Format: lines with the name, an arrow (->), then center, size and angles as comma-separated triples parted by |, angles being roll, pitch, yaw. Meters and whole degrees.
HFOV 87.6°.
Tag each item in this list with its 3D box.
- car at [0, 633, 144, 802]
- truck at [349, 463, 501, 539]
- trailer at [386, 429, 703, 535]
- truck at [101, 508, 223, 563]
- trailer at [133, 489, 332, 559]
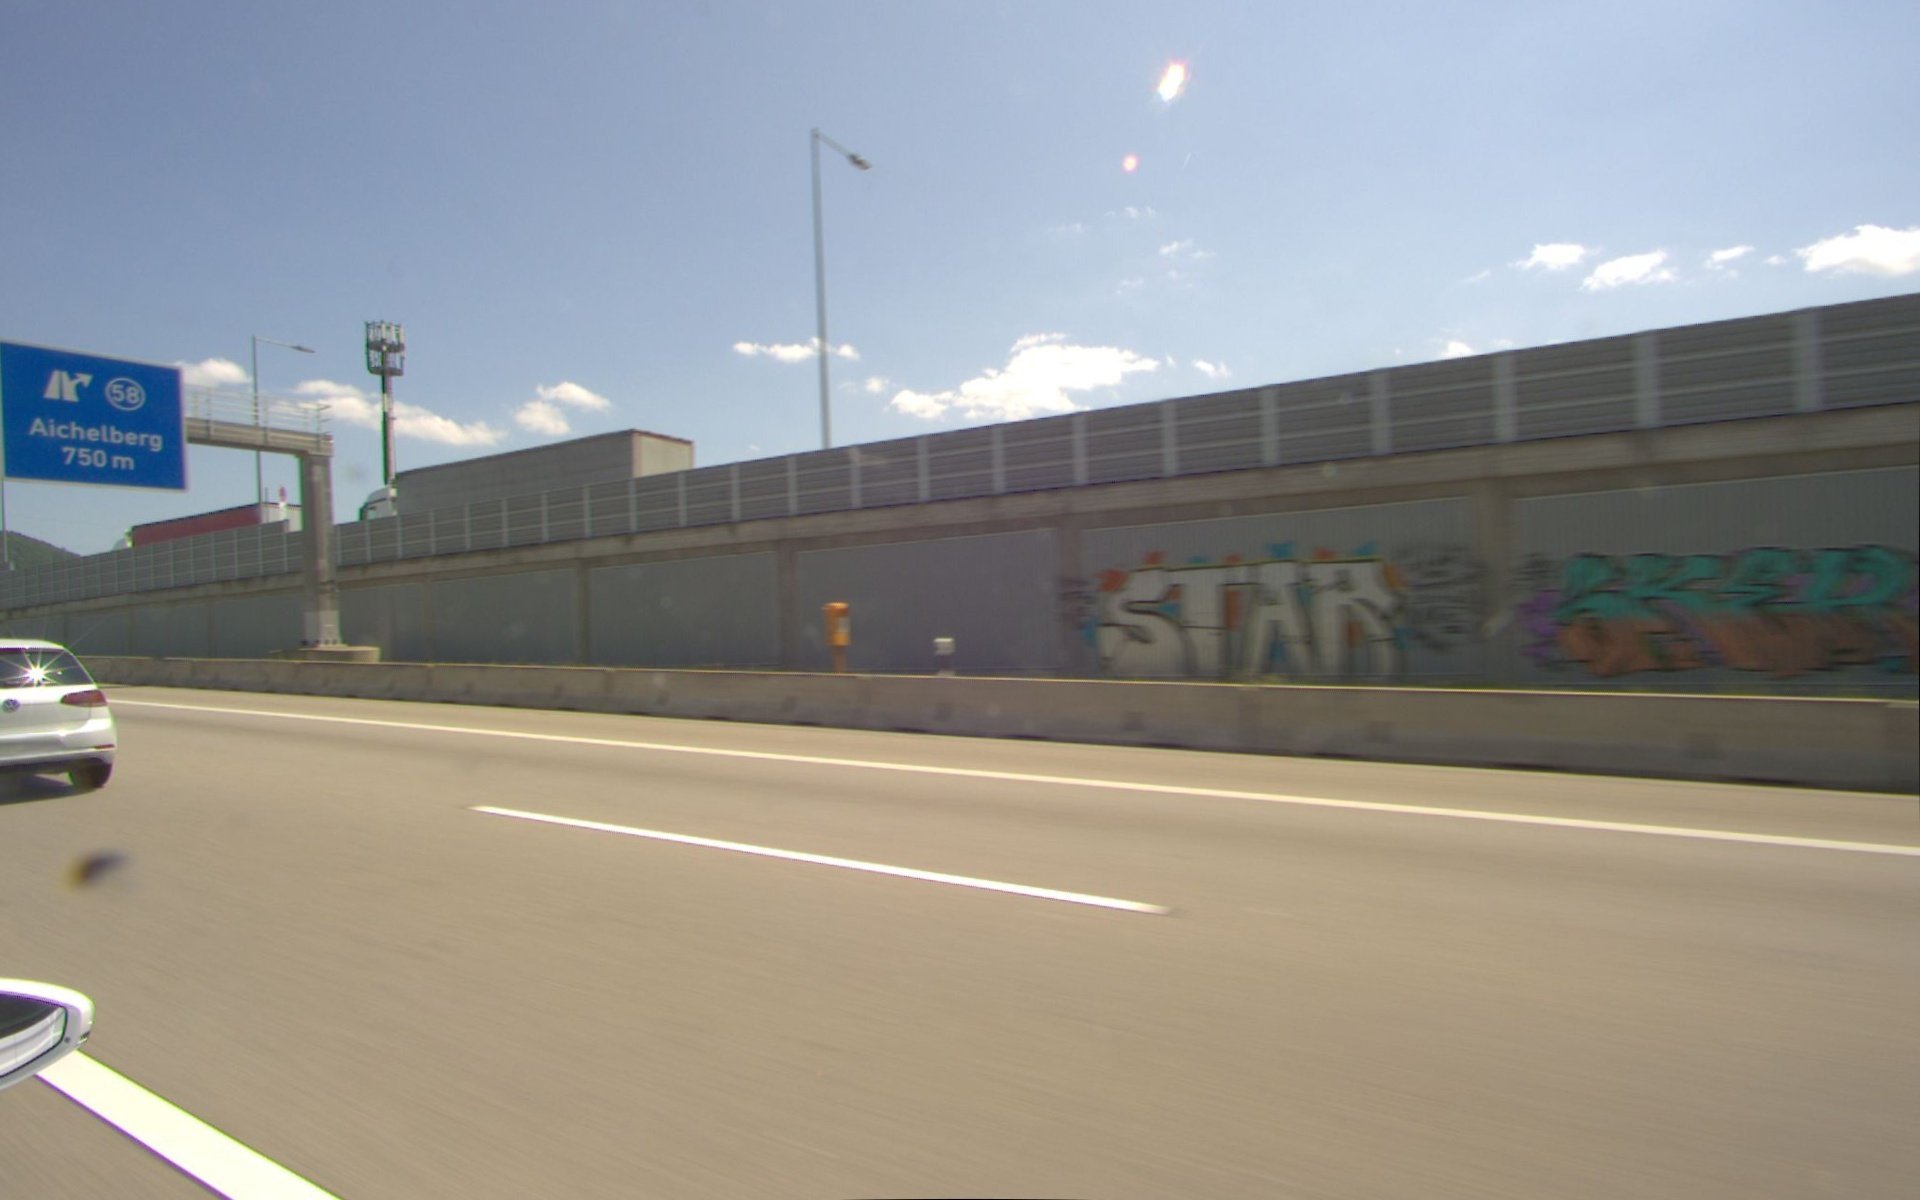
car -> -10.141, 1.072, 9.968 | 4.625, 1.451, 1.773 | -2, -2, 33
truck -> -21.293, -3.827, 39.825 | 5.949, 2.258, 2.720 | -2, -2, 32
trailer -> -15.465, -4.016, 36.276 | 14.317, 2.252, 2.716 | -2, -2, 31
truck -> -41.888, -3.306, 52.502 | 7.182, 2.232, 2.704 | -2, -2, 31
trailer -> -35.575, -3.507, 48.637 | 13.817, 2.252, 2.716 | -2, -2, 31
